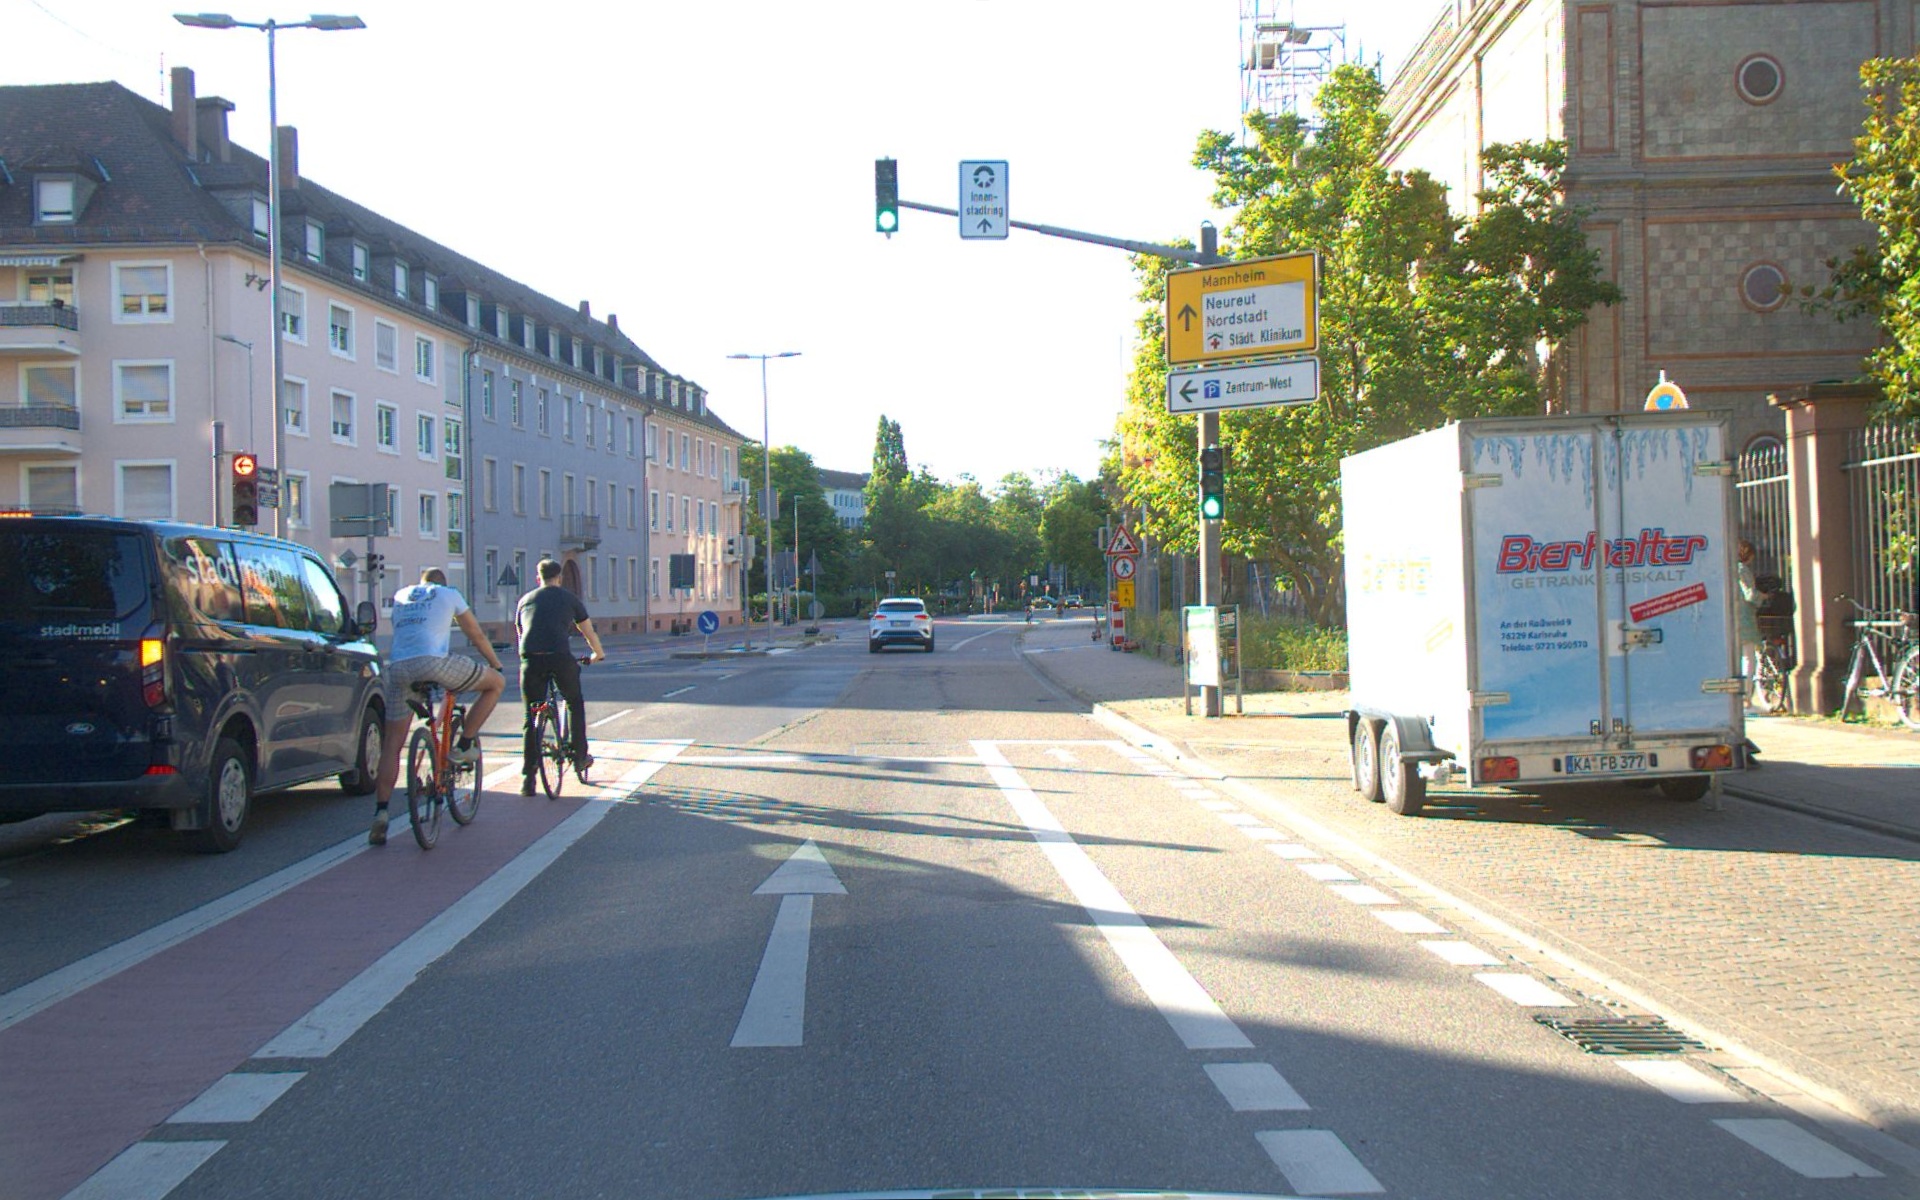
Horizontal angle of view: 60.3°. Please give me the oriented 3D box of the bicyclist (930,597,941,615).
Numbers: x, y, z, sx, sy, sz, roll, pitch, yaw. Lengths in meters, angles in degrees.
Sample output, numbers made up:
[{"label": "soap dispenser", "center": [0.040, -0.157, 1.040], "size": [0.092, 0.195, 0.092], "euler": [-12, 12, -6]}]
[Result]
[{"label": "bicyclist", "center": [-2.056, 0.498, 137.632], "size": [0.722, 1.511, 0.665], "euler": [-3, 0, 10]}]

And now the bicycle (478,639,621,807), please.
[{"label": "bicycle", "center": [-3.212, 0.921, 13.112], "size": [0.629, 1.175, 2.077], "euler": [0, 0, -1]}]

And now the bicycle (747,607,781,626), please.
[{"label": "bicycle", "center": [-13.695, 1.132, 115.815], "size": [2.270, 1.251, 0.561], "euler": [-1, 0, 12]}]

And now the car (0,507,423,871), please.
[{"label": "car", "center": [-5.436, 0.515, 11.458], "size": [2.027, 1.949, 5.029], "euler": [-1, 0, -4]}]

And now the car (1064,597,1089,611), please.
[{"label": "car", "center": [12.845, 0.428, 182.326], "size": [1.773, 1.444, 4.558], "euler": [-1, 0, 16]}]

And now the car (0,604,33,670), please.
[{"label": "car", "center": [-26.169, 1.005, 42.601], "size": [1.953, 1.716, 4.614], "euler": [-1, 0, 0]}]

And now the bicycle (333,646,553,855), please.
[{"label": "bicycle", "center": [-3.258, 0.904, 10.633], "size": [0.812, 1.163, 1.969], "euler": [0, 0, -1]}]

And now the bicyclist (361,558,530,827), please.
[{"label": "bicyclist", "center": [-3.267, 0.567, 10.571], "size": [0.786, 1.636, 0.825], "euler": [-1, 0, -1]}]

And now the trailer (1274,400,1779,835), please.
[{"label": "trailer", "center": [3.919, 0.091, 12.431], "size": [2.037, 2.572, 4.490], "euler": [-3, 0, -2]}]

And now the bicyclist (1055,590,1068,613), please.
[{"label": "bicyclist", "center": [7.092, 0.115, 115.403], "size": [0.731, 1.564, 0.970], "euler": [-1, 0, 13]}]

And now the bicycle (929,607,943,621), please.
[{"label": "bicycle", "center": [-2.011, 1.164, 137.606], "size": [0.721, 1.013, 2.111], "euler": [-2, 1, 10]}]

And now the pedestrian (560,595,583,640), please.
[{"label": "pedestrian", "center": [-16.716, 0.751, 71.166], "size": [0.618, 1.878, 1.014], "euler": [2, 0, 5]}]

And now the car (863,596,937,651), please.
[{"label": "car", "center": [-1.678, 0.655, 47.578], "size": [1.953, 1.478, 3.999], "euler": [-2, 0, 0]}]

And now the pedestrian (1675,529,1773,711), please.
[{"label": "pedestrian", "center": [7.806, 0.199, 16.918], "size": [0.626, 1.799, 0.737], "euler": [-1, 0, 0]}]

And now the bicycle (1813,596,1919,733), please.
[{"label": "bicycle", "center": [8.252, 0.545, 14.782], "size": [0.390, 1.125, 1.681], "euler": [-3, 0, 2]}]

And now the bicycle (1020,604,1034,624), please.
[{"label": "bicycle", "center": [3.640, 0.775, 89.831], "size": [0.629, 1.042, 2.214], "euler": [0, 0, 7]}]

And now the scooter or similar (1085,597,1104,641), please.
[{"label": "scooter or similar", "center": [4.186, 0.572, 51.490], "size": [0.543, 1.331, 1.833], "euler": [-1, 0, 4]}]

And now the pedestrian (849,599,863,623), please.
[{"label": "pedestrian", "center": [-8.287, 0.909, 132.001], "size": [0.837, 1.884, 1.002], "euler": [-2, 0, 11]}]

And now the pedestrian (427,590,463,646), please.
[{"label": "pedestrian", "center": [-17.944, 0.622, 57.637], "size": [0.849, 1.896, 1.015], "euler": [1, 0, 6]}]

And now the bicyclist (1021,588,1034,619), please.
[{"label": "bicyclist", "center": [3.655, 0.192, 89.927], "size": [0.622, 1.642, 1.285], "euler": [0, 0, 6]}]

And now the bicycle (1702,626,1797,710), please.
[{"label": "bicycle", "center": [8.314, 0.698, 17.464], "size": [0.259, 0.807, 1.450], "euler": [-1, 0, -2]}]

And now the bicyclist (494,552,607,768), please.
[{"label": "bicyclist", "center": [-3.224, 0.461, 13.070], "size": [0.656, 1.636, 0.825], "euler": [-1, 0, -1]}]

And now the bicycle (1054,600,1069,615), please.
[{"label": "bicycle", "center": [7.105, 0.530, 115.447], "size": [0.737, 1.044, 1.871], "euler": [0, -1, 13]}]
